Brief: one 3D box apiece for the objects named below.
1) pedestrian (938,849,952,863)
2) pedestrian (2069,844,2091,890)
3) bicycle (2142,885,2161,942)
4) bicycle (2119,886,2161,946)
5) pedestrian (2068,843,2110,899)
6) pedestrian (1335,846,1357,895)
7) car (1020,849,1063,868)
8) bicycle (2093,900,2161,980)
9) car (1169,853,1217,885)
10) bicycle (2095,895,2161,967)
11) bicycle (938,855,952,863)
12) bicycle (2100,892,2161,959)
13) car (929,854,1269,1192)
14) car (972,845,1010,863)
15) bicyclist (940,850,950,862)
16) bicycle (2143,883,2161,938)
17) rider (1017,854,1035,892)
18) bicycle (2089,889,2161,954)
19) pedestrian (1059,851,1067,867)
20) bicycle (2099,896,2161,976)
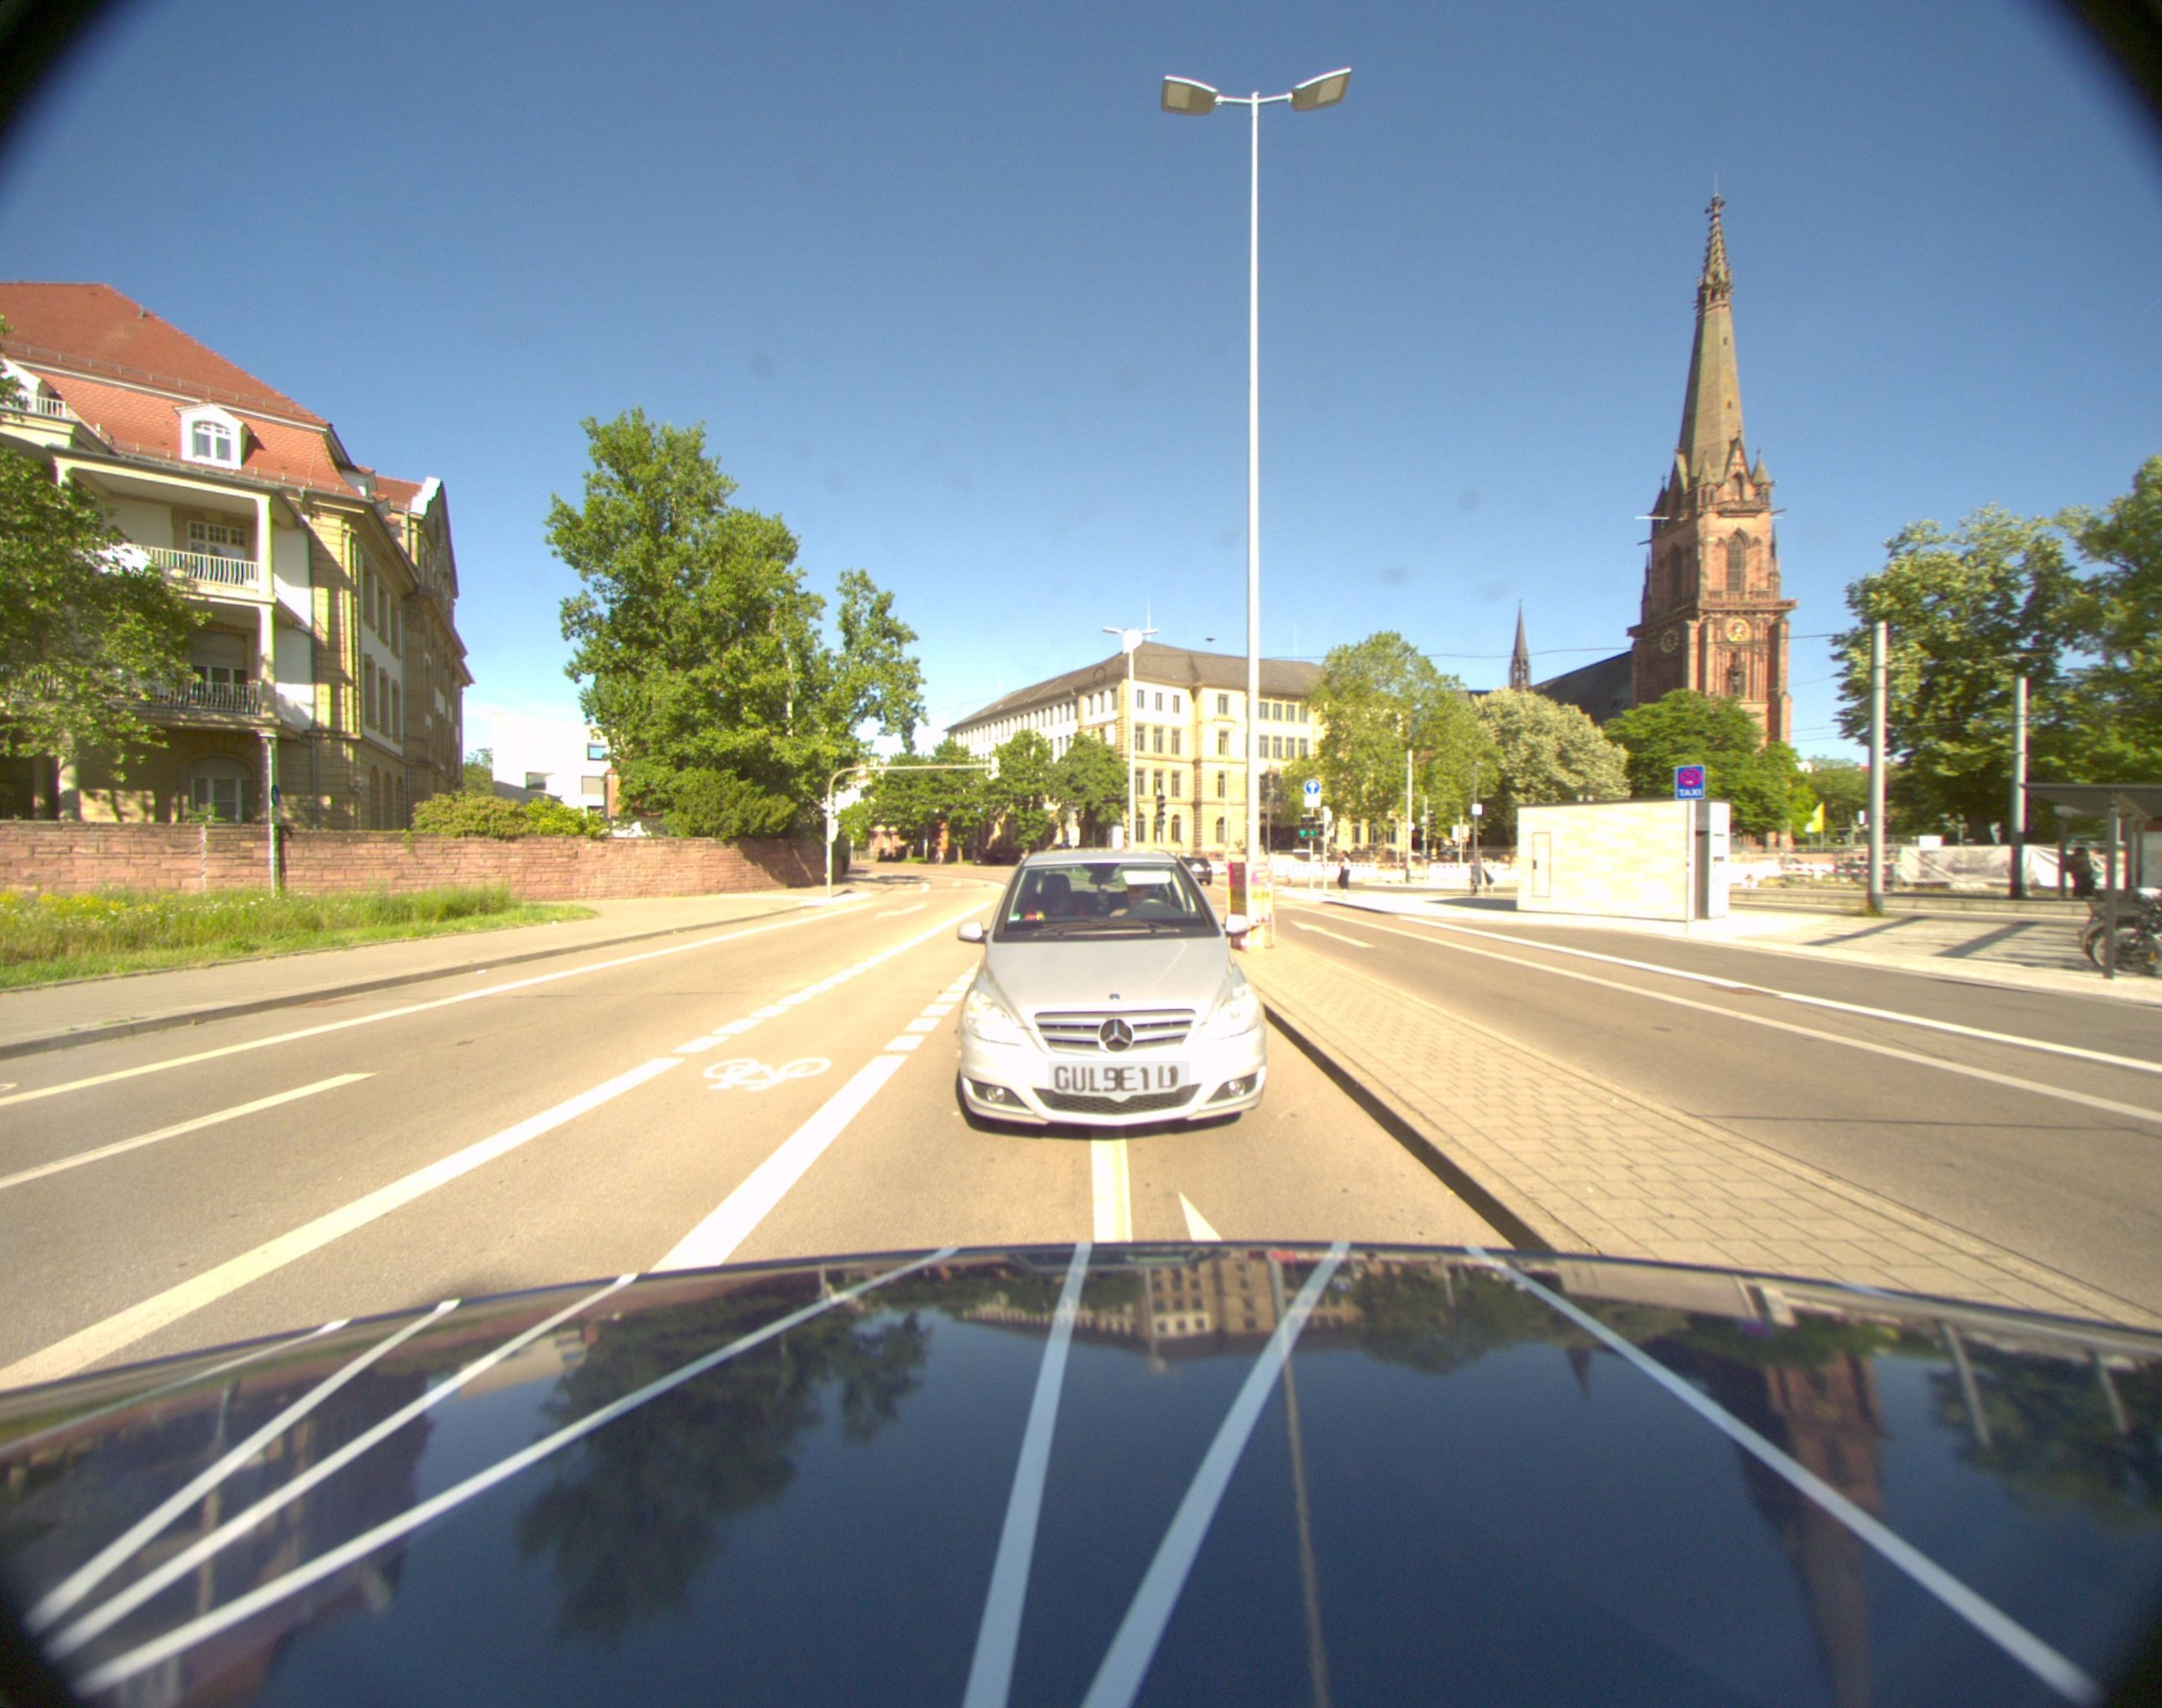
[{"bbox_3d":[-17.071,0.239,95.539,0.934,1.812,1.394,1,1,45],"label":"pedestrian"},{"bbox_3d":[37.569,0.495,28.576,0.404,1.711,0.419,1,1,38],"label":"pedestrian"},{"bbox_3d":[19.891,1.072,13.199,0.458,1.003,1.667,-1,1,-33],"label":"bicycle"},{"bbox_3d":[19.124,1.095,12.948,0.458,1.003,1.667,-1,1,-33],"label":"bicycle"},{"bbox_3d":[32.838,0.540,24.763,0.980,1.769,0.801,-1,1,-37],"label":"pedestrian"},{"bbox_3d":[10.034,0.622,28.775,0.693,1.844,0.679,0,1,12],"label":"pedestrian"},{"bbox_3d":[-3.459,0.346,66.201,1.865,1.533,4.229,1,1,-34],"label":"car"},{"bbox_3d":[14.696,1.168,9.964,0.458,1.003,1.667,-1,1,-33],"label":"bicycle"},{"bbox_3d":[5.777,0.733,39.723,1.793,1.490,4.574,1,1,-1],"label":"car"},{"bbox_3d":[16.070,1.145,10.976,0.458,1.003,1.667,-1,1,-33],"label":"bicycle"},{"bbox_3d":[-16.109,0.594,89.966,1.830,0.985,0.735,0,1,44],"label":"bicycle"},{"bbox_3d":[17.257,1.144,11.654,0.458,1.003,1.899,-1,1,-33],"label":"bicycle"},{"bbox_3d":[0.064,0.862,5.842,1.706,1.657,3.913,-1,1,-1],"label":"car"},{"bbox_3d":[-10.726,-0.037,90.762,1.994,2.002,4.721,0,1,32],"label":"car"},{"bbox_3d":[-16.098,0.217,89.952,0.893,1.377,0.735,1,1,44],"label":"bicyclist"},{"bbox_3d":[20.485,1.060,13.610,0.458,1.003,1.667,-1,1,-33],"label":"bicycle"},{"bbox_3d":[-2.428,0.825,33.648,0.658,1.610,0.989,-1,1,1],"label":"rider"},{"bbox_3d":[17.910,1.123,12.427,0.458,1.003,1.667,-1,1,-33],"label":"bicycle"},{"bbox_3d":[-1.918,0.561,81.696,0.677,1.714,0.588,-1,1,-22],"label":"pedestrian"},{"bbox_3d":[15.197,1.150,10.280,0.458,1.055,1.667,-1,1,-33],"label":"bicycle"}]
